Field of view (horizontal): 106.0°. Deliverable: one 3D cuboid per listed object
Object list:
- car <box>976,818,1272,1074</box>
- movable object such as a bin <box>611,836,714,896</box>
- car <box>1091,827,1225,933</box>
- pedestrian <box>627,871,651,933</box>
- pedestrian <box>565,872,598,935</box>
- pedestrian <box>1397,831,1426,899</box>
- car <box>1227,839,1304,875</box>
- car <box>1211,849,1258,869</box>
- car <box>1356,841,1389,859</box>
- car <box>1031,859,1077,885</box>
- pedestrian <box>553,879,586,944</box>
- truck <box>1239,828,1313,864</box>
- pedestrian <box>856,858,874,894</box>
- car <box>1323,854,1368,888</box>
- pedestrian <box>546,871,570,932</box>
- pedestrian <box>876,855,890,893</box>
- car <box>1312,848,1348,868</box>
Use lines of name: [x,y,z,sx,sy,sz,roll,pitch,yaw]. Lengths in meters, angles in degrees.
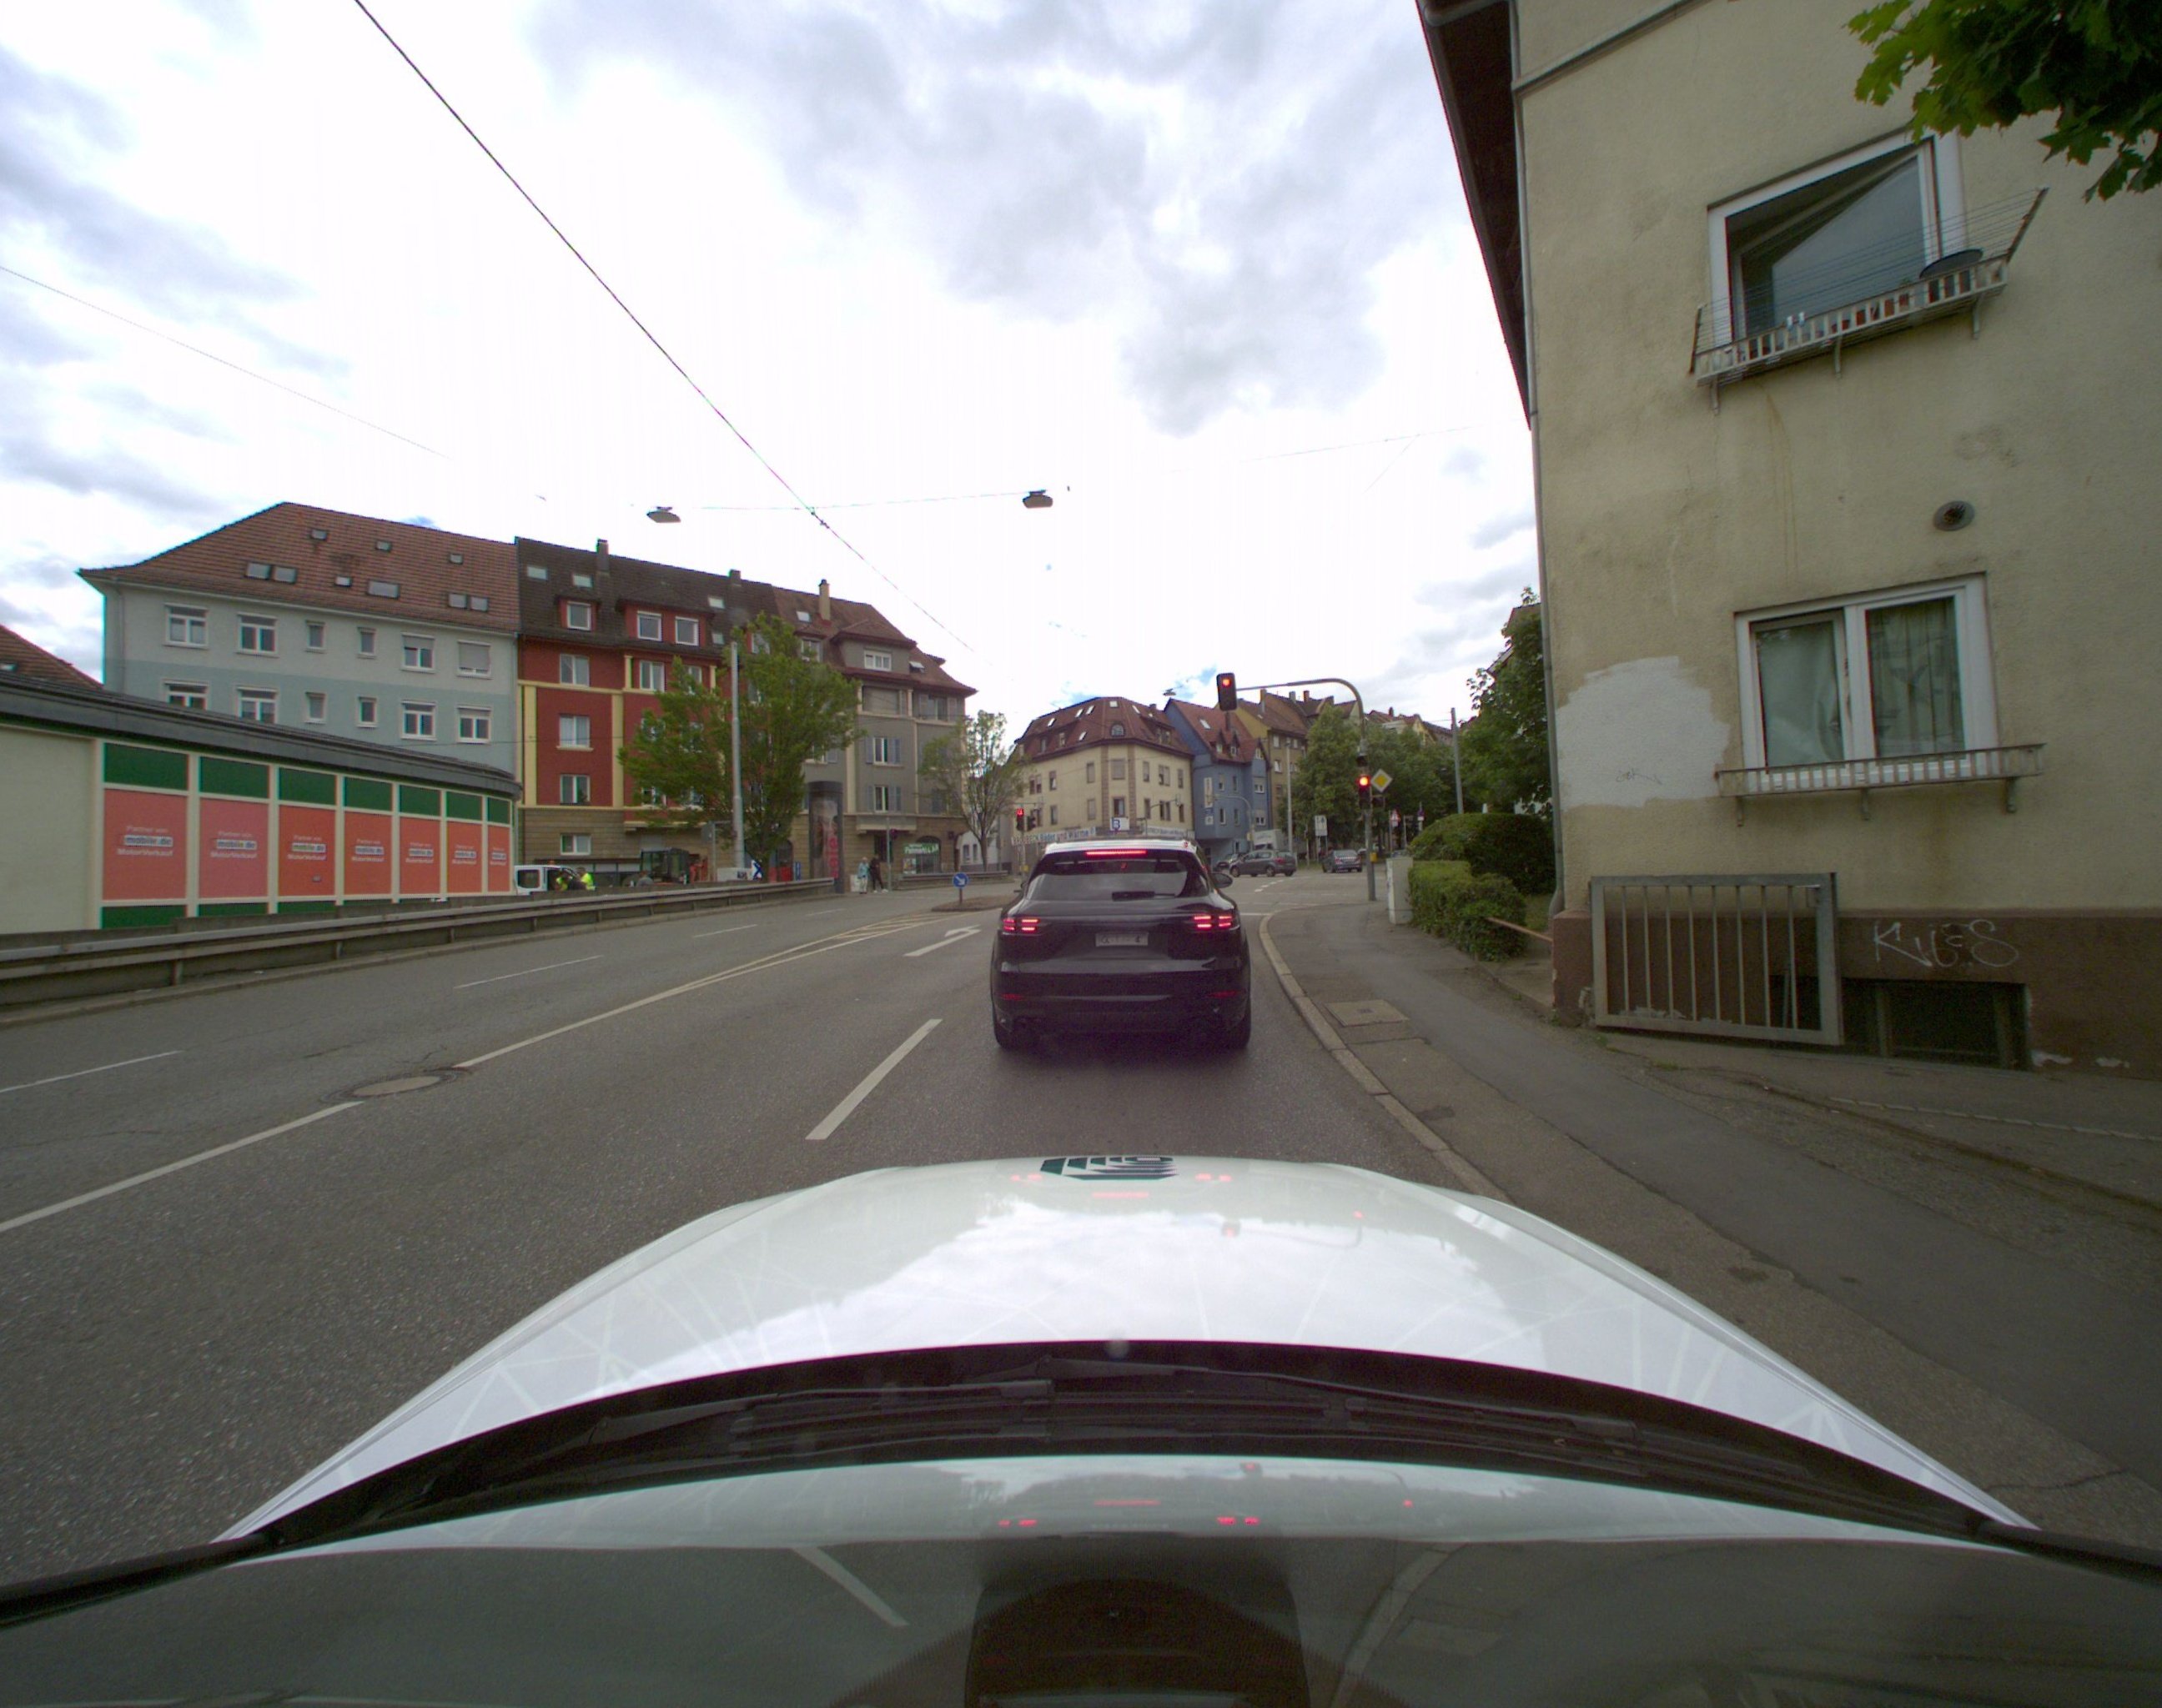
car: [0.265,0.603,7.512,1.973,1.684,3.998,-1,0,-1]
movable object such as a bin: [-13.377,0.386,26.325,1.903,1.771,3.984,1,0,-11]
car: [1.579,0.437,15.152,1.980,1.684,4.014,-1,0,12]
pedestrian: [-12.597,1.359,23.204,0.545,1.730,0.587,1,-1,-33]
pedestrian: [-14.265,1.396,23.268,0.565,1.761,0.622,0,-1,37]
pedestrian: [8.968,0.286,22.116,0.587,1.819,0.529,1,-1,1]
car: [10.656,0.189,47.270,2.010,2.014,3.954,1,-1,-39]
car: [13.522,0.444,71.656,4.021,1.684,1.976,-1,-1,-41]
car: [33.137,-0.430,92.610,1.975,2.014,4.023,0,-1,45]
car: [-1.710,1.148,53.192,1.875,1.579,3.985,-3,-1,15]
pedestrian: [-13.709,1.525,21.841,0.562,1.700,0.541,1,-1,-10]
truck: [18.901,-0.722,78.471,2.846,3.340,8.846,0,0,43]
pedestrian: [-9.388,0.955,35.418,0.587,1.567,0.486,1,-1,1]
car: [16.545,1.061,51.151,1.983,2.014,4.008,0,-1,7]
pedestrian: [-15.229,1.374,23.710,0.479,1.730,0.536,1,-1,-44]
pedestrian: [-9.156,0.922,37.705,0.511,1.730,0.451,1,-1,4]
car: [26.174,0.425,85.693,1.975,2.014,4.023,0,-1,45]
